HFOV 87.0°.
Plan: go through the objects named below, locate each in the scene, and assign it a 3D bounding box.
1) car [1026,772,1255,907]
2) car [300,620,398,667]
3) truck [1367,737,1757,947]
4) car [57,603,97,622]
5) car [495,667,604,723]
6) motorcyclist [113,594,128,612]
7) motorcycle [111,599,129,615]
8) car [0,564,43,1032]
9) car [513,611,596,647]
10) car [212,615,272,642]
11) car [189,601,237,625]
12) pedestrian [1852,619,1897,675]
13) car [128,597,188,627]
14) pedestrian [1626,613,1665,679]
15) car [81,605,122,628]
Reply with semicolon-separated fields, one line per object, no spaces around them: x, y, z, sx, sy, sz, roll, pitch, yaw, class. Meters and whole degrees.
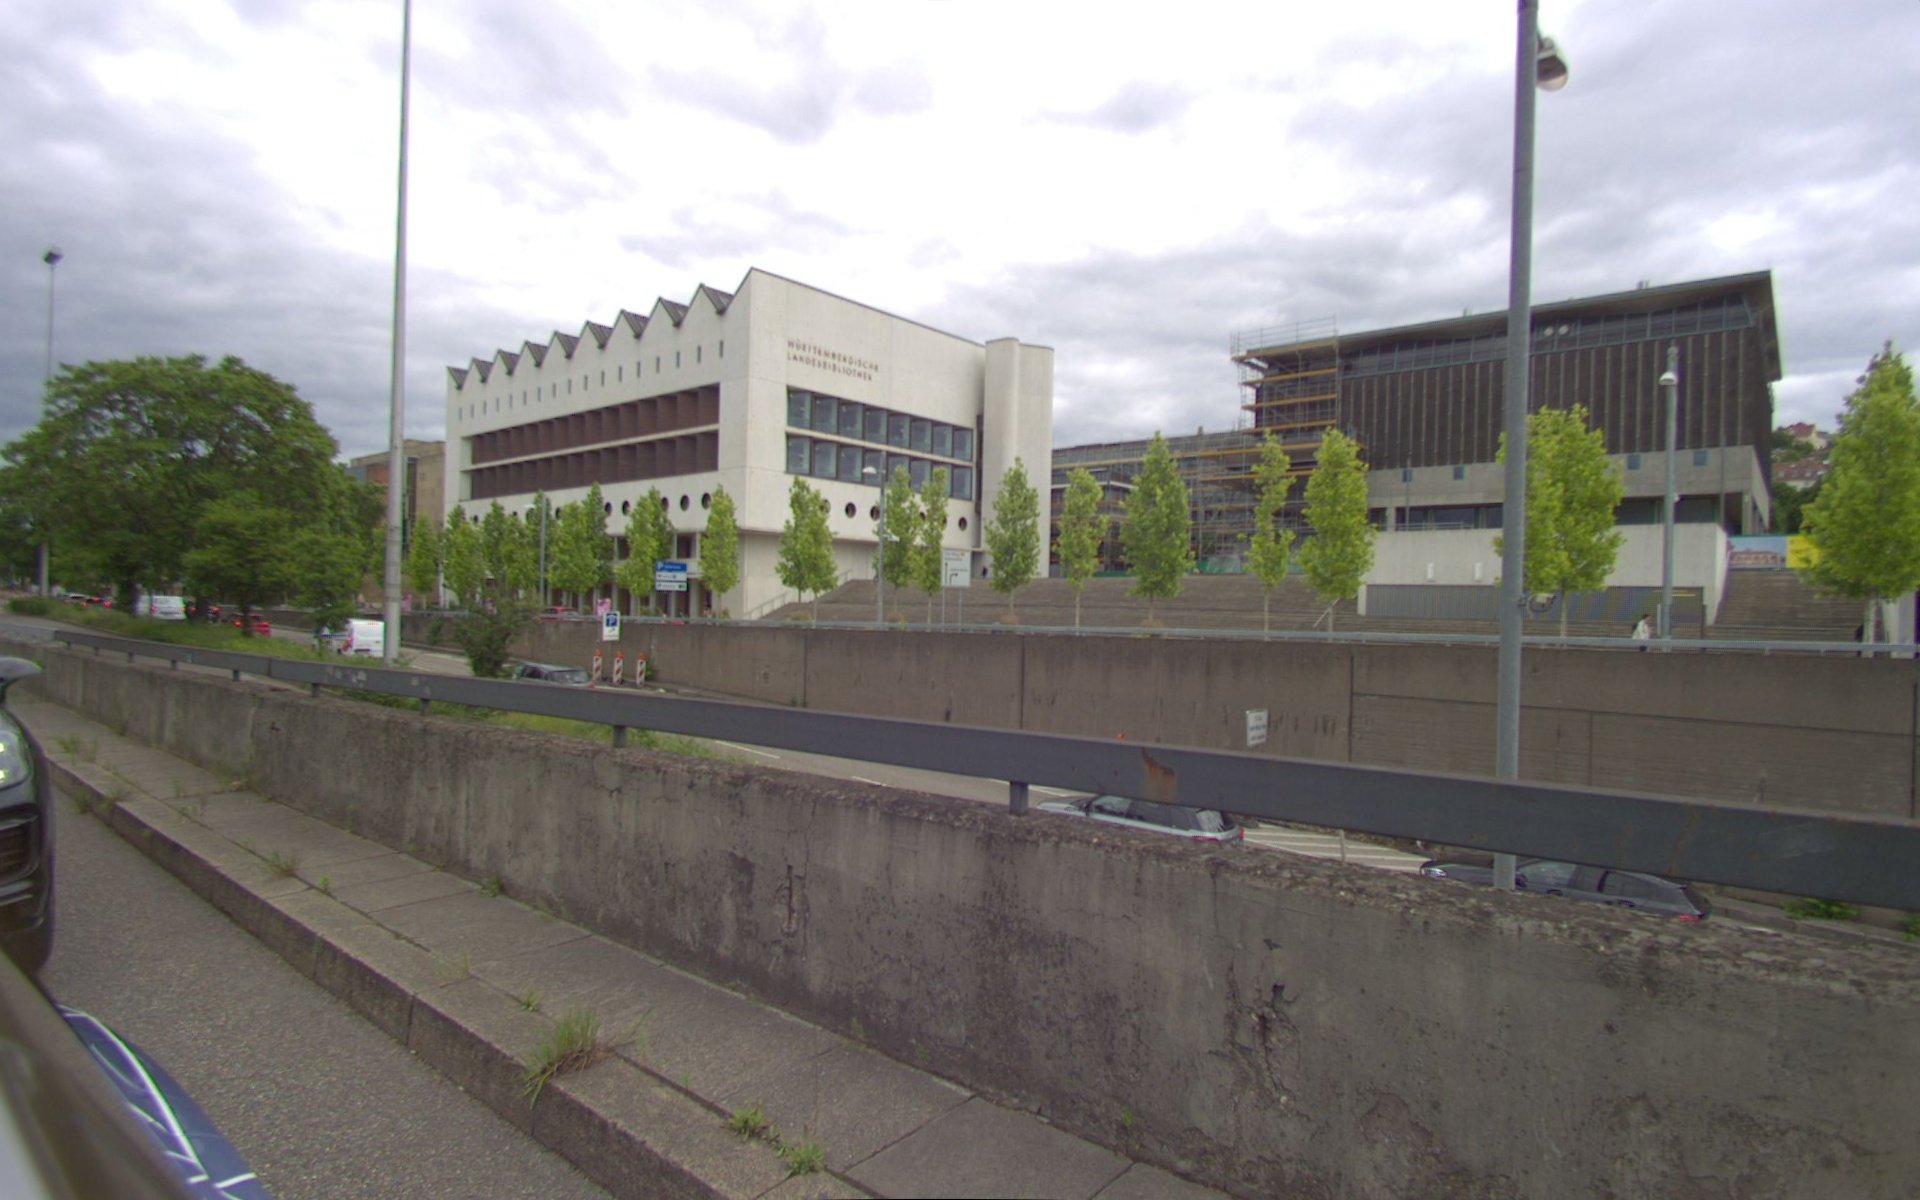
3.317;4.355;18.925;3.903;1.553;1.696;1;2;39;car
-27.690;1.915;45.800;5.109;2.029;2.197;-1;-1;39;car
10.024;3.834;17.175;5.377;2.419;2.159;-1;-2;42;truck
-74.704;1.055;85.595;3.998;1.409;1.973;0;-4;41;car
-13.895;3.156;34.182;3.999;1.560;1.855;0;-1;42;car
-65.802;0.235;79.307;0.718;1.362;0.662;3;-3;41;motorcyclist
-65.874;0.554;79.328;2.050;1.106;0.678;3;-2;41;motorcycle
-5.569;0.672;4.496;4.733;1.602;1.879;0;0;44;car
-21.682;1.527;54.048;4.732;1.869;2.152;-1;-2;40;car
-40.392;1.590;56.909;3.999;1.497;1.972;-1;-2;42;car
-54.686;0.929;74.049;4.141;1.500;1.758;3;0;38;car
27.623;1.419;30.561;0.728;1.655;0.795;1;-3;-33;pedestrian
-53.856;0.784;67.911;5.246;1.651;1.973;2;-5;40;car
21.242;1.419;31.348;0.729;2.029;0.794;1;-3;-42;pedestrian
-68.714;1.318;80.972;4.144;1.500;1.757;3;0;40;car
